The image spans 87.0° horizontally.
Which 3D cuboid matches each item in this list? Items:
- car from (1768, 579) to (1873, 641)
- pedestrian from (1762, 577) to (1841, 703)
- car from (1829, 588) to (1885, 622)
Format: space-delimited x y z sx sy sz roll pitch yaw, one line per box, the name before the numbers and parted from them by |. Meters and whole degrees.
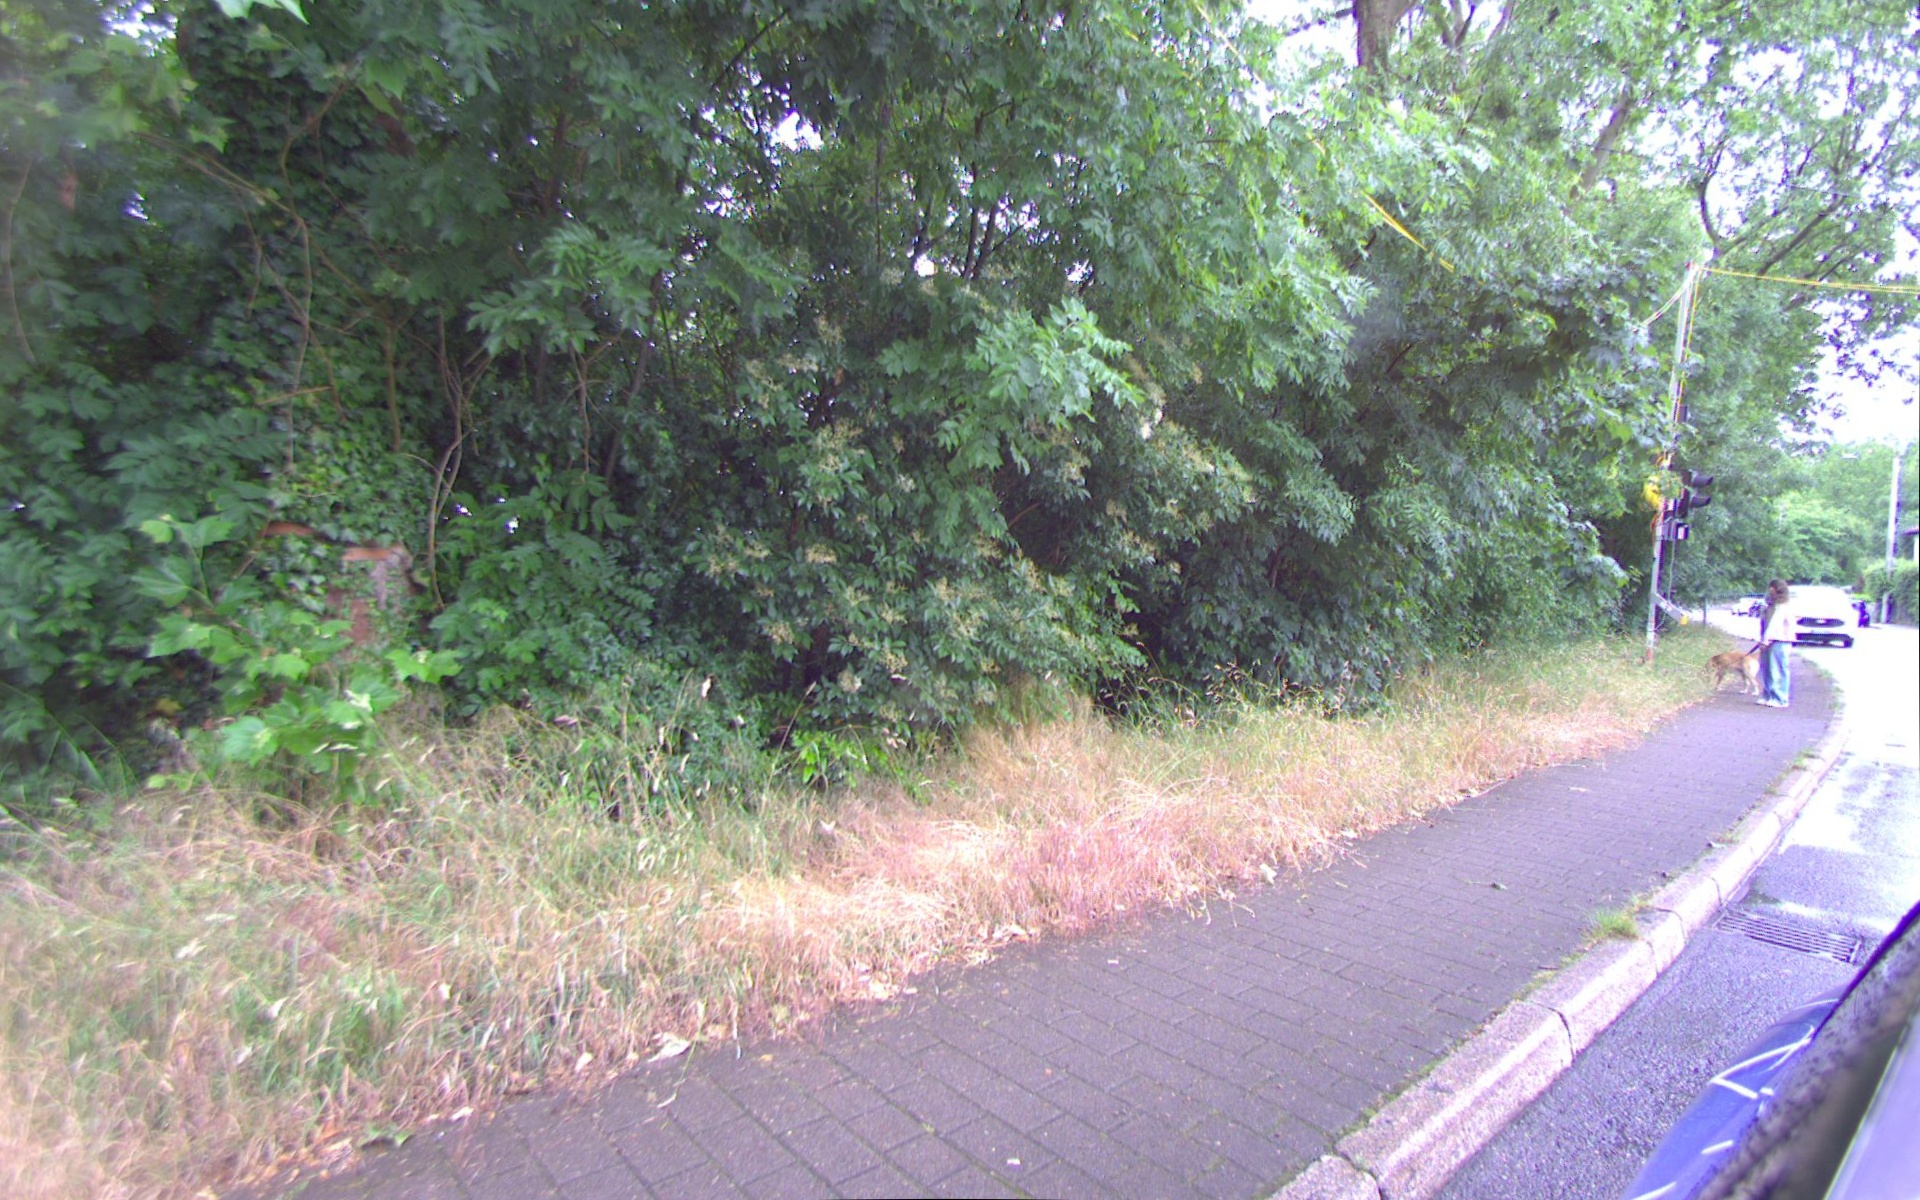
car | 29.213 0.281 34.518 2.088 1.943 5.029 0 0 33
pedestrian | 10.551 0.471 12.712 0.732 1.518 0.774 1 0 39
car | 51.067 0.286 57.706 1.869 1.848 4.075 1 1 35
